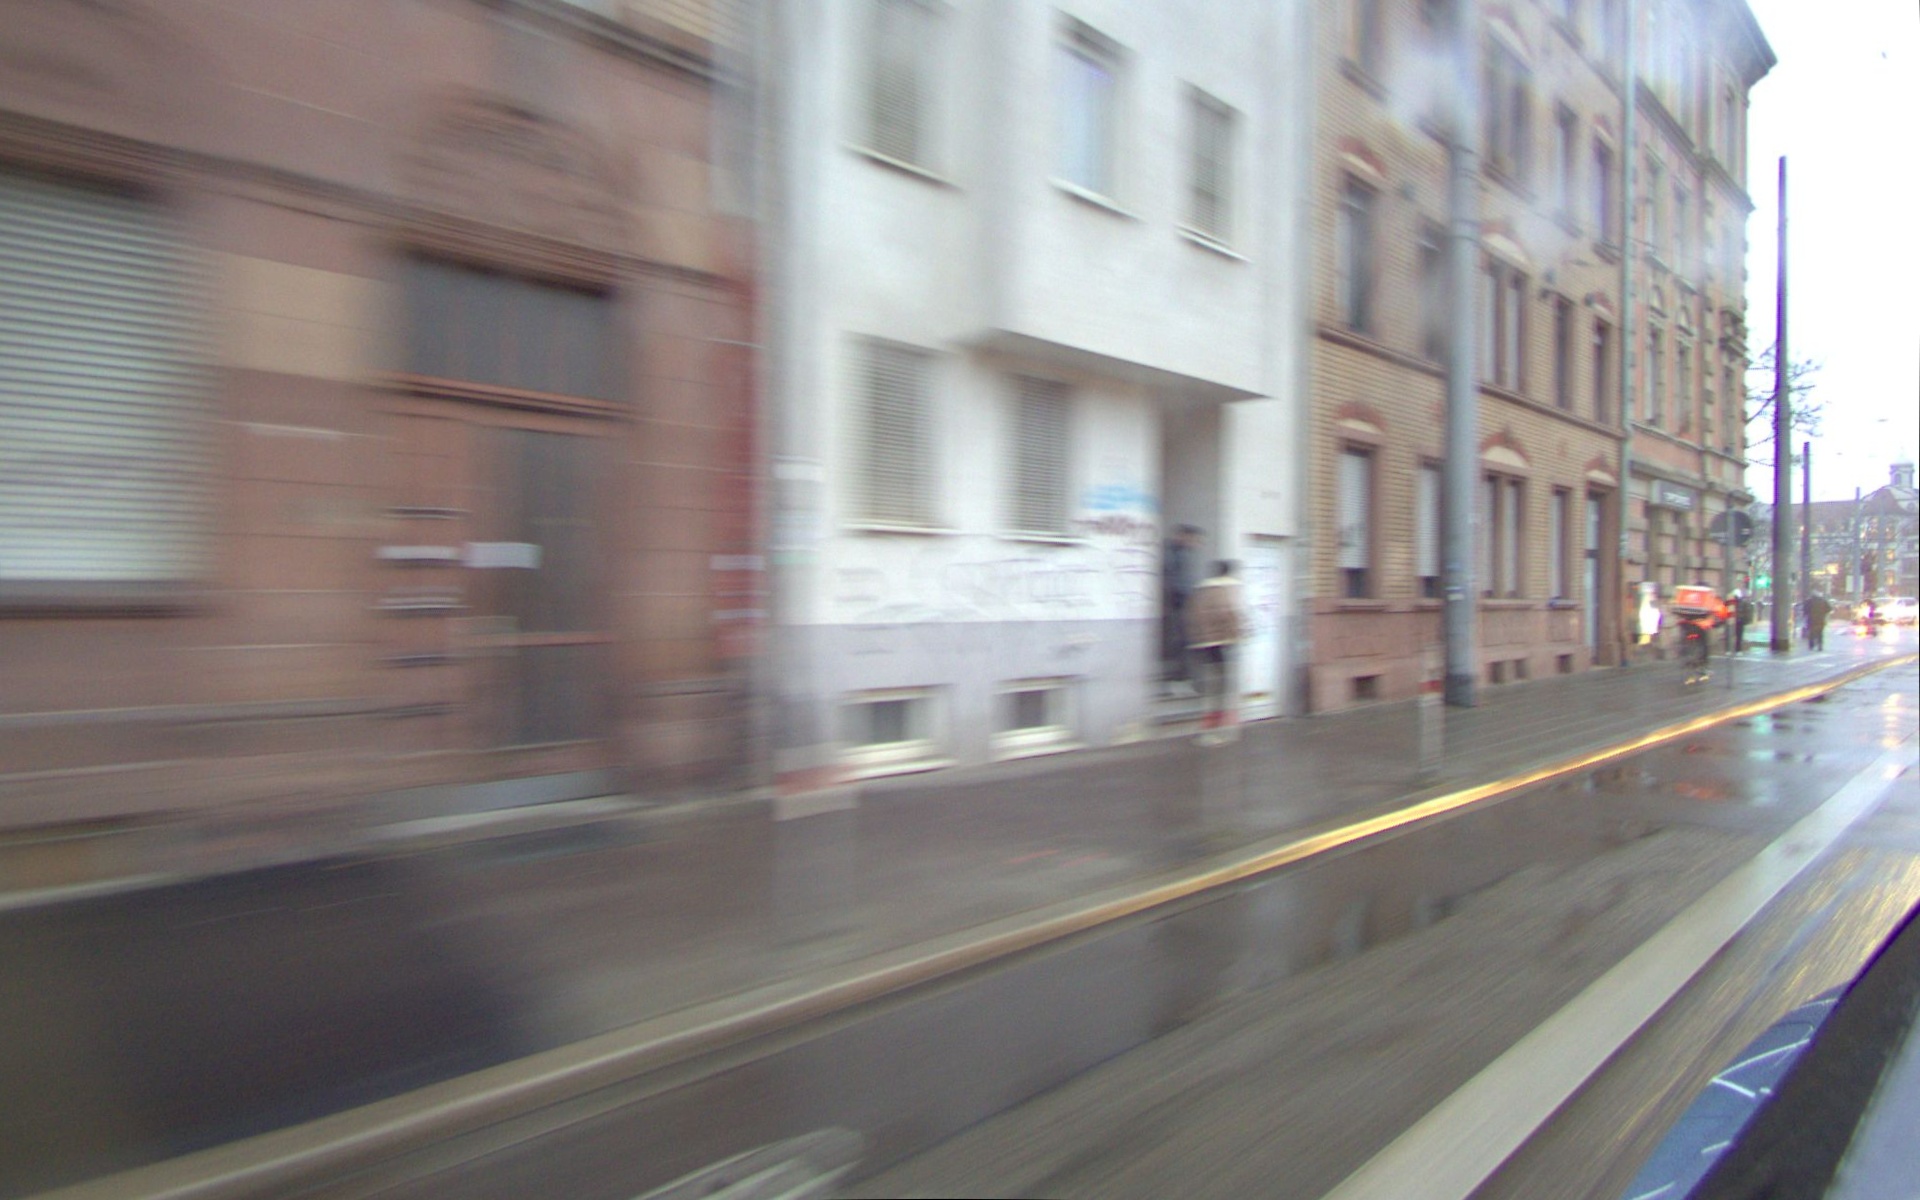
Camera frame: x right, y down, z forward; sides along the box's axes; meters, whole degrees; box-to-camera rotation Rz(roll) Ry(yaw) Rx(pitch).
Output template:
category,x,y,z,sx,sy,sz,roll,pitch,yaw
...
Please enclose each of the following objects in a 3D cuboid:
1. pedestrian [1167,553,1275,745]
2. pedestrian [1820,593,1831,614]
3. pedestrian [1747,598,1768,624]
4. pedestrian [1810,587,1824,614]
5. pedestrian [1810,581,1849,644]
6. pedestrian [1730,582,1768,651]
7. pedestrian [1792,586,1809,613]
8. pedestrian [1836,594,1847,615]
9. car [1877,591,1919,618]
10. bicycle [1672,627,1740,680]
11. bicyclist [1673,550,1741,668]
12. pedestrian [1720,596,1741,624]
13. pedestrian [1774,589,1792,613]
category,x,y,z,sx,sy,sz,roll,pitch,yaw
pedestrian,2.522,0.443,9.792,0.661,1.766,0.777,0,0,-40
pedestrian,73.305,0.310,85.712,0.634,1.784,0.504,-1,0,37
pedestrian,50.698,0.677,64.313,0.808,1.640,0.745,0,0,17
pedestrian,58.095,0.041,68.619,0.503,1.784,0.635,0,0,16
pedestrian,25.614,0.359,29.807,0.698,1.848,0.753,0,0,-38
pedestrian,18.529,0.379,23.772,0.632,1.568,0.699,-1,0,44
pedestrian,57.644,-0.006,69.416,0.640,1.845,0.635,0,0,16
pedestrian,74.165,0.397,85.114,0.634,1.784,0.504,-1,0,37
car,65.791,0.277,70.389,4.779,1.861,1.999,0,0,-36
bicycle,12.495,0.878,16.932,1.830,0.770,0.608,-1,1,-43
bicyclist,12.559,0.140,17.008,1.093,1.903,0.745,0,0,-43
pedestrian,46.958,0.619,61.667,0.734,1.697,0.820,0,0,-31
pedestrian,57.097,0.042,70.200,0.699,1.640,0.745,0,0,16
